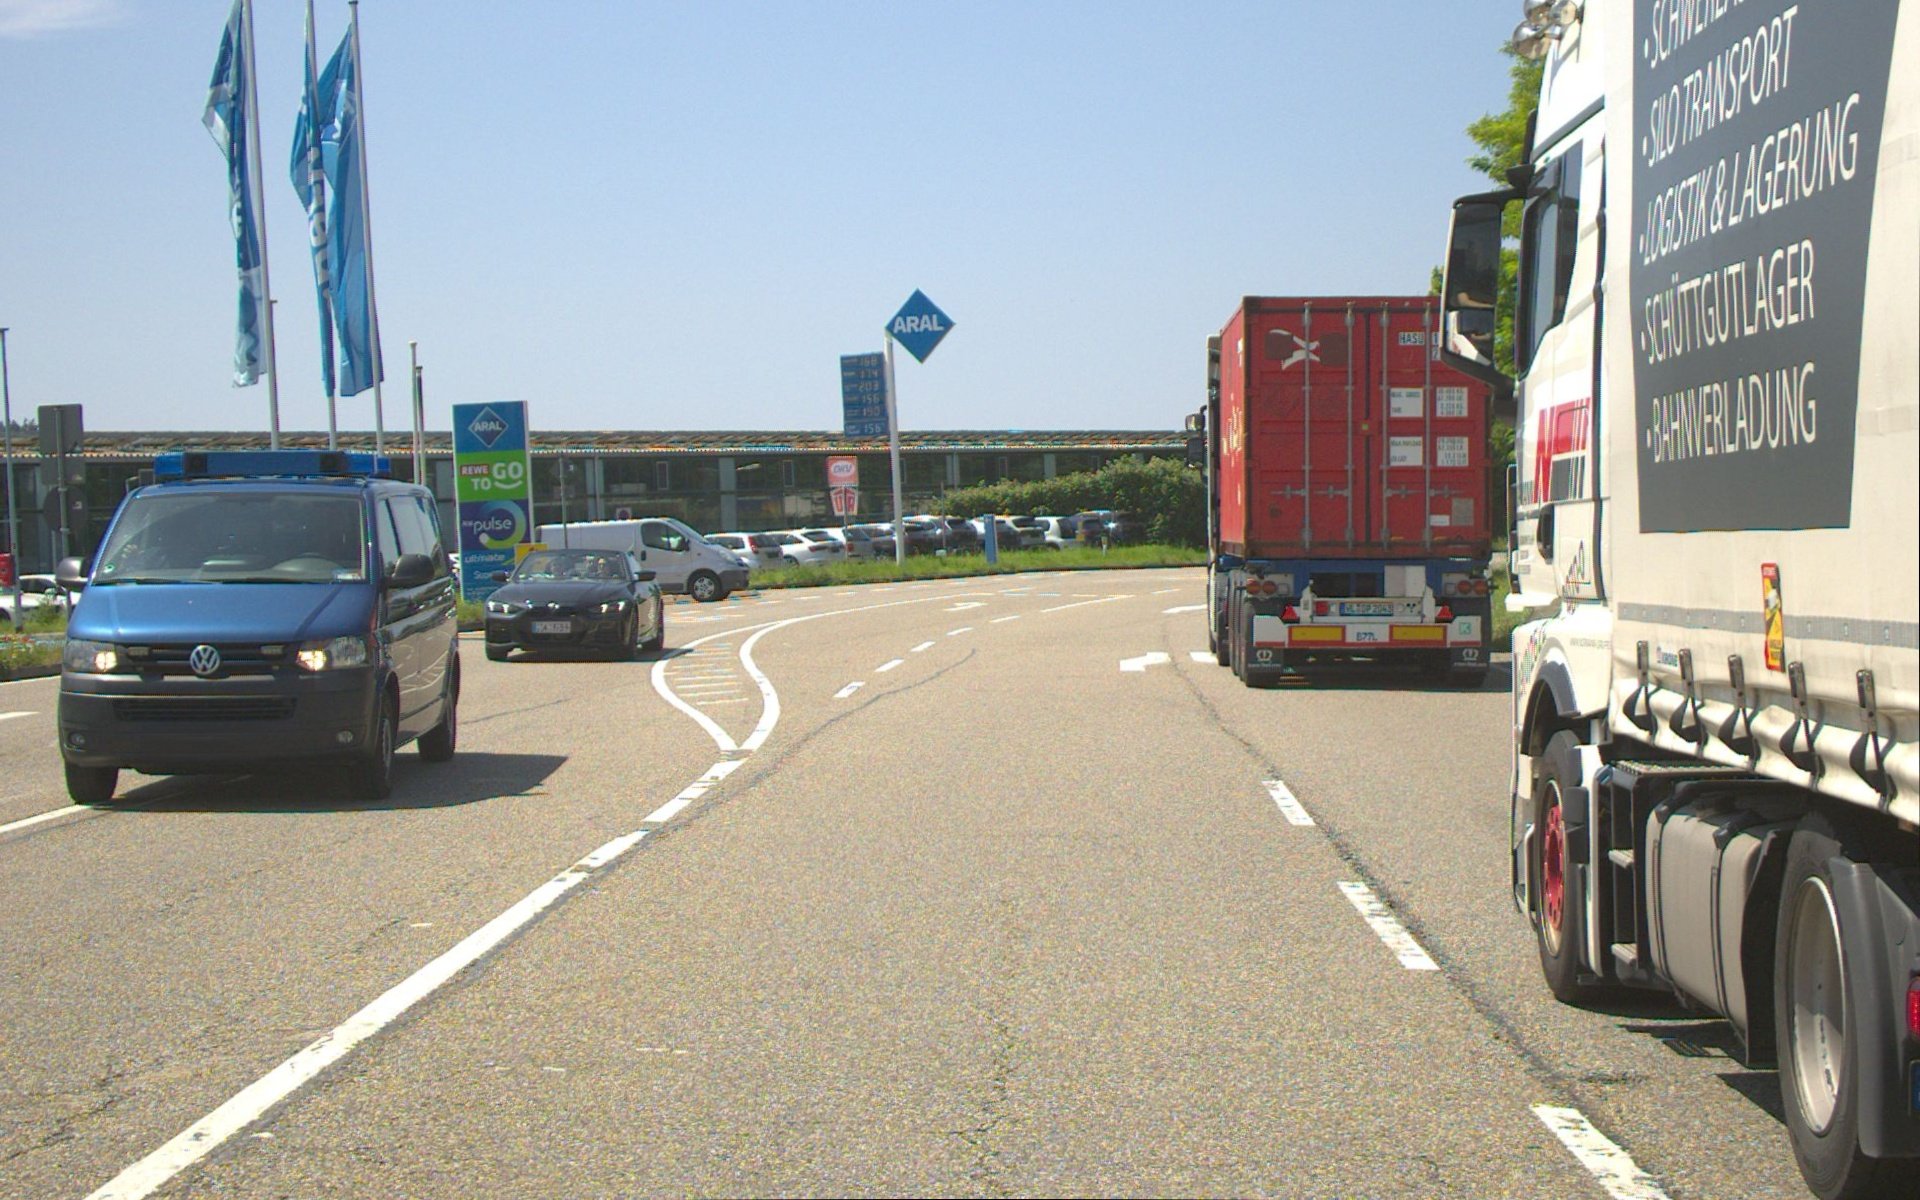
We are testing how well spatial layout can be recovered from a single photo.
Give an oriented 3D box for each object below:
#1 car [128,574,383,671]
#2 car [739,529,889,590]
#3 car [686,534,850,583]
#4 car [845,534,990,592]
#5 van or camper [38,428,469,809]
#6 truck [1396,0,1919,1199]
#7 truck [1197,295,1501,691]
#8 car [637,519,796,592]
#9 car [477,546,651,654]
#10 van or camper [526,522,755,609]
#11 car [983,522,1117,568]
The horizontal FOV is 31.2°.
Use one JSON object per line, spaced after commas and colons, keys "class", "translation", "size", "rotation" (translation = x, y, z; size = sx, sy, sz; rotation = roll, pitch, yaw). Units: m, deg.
{"class": "car", "translation": [-12.782, 0.389, 62.605], "size": [1.866, 1.706, 4.510], "rotation": [0, 0, 35]}
{"class": "car", "translation": [-4.281, -1.183, 100.968], "size": [3.994, 1.744, 1.931], "rotation": [0, 1, 31]}
{"class": "car", "translation": [-5.487, -1.186, 98.090], "size": [4.243, 1.354, 1.997], "rotation": [0, 0, 29]}
{"class": "car", "translation": [-1.305, -1.116, 104.983], "size": [3.994, 1.744, 1.996], "rotation": [0, 0, 31]}
{"class": "van or camper", "translation": [-4.328, 0.068, 21.899], "size": [1.836, 2.130, 5.343], "rotation": [0, 1, -2]}
{"class": "truck", "translation": [3.119, -0.623, 4.980], "size": [2.973, 4.080, 17.634], "rotation": [0, 0, 1]}
{"class": "truck", "translation": [4.245, -1.194, 40.199], "size": [2.648, 3.793, 13.359], "rotation": [2, 1, 3]}
{"class": "car", "translation": [-6.822, -1.239, 96.377], "size": [3.993, 2.007, 1.997], "rotation": [0, 1, 29]}
{"class": "car", "translation": [-4.903, -0.033, 43.019], "size": [1.848, 1.267, 4.177], "rotation": [0, 1, -2]}
{"class": "van or camper", "translation": [-7.159, -0.765, 77.273], "size": [4.848, 1.898, 1.904], "rotation": [0, 0, 5]}
{"class": "car", "translation": [2.975, -1.826, 113.822], "size": [3.993, 1.357, 1.817], "rotation": [-2, 1, 28]}
